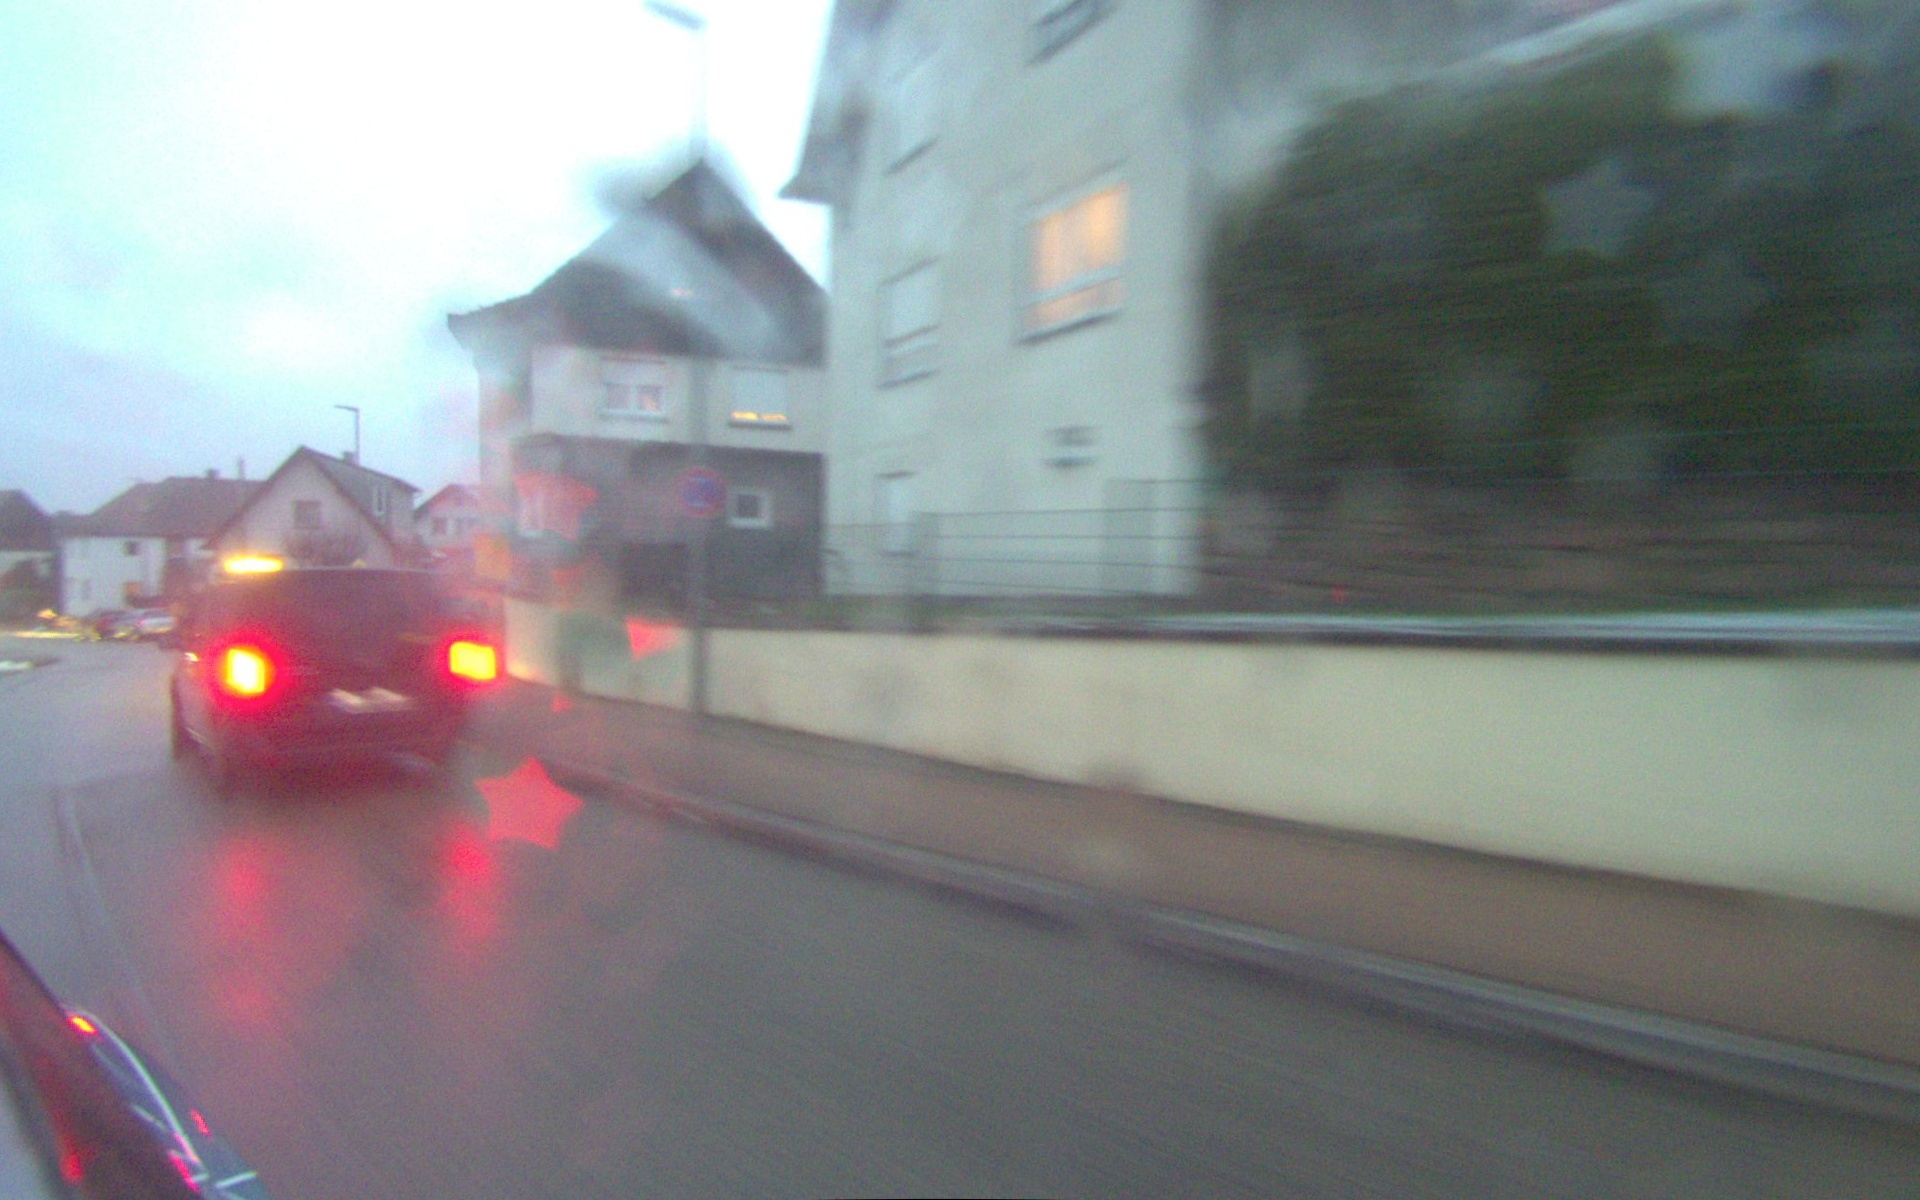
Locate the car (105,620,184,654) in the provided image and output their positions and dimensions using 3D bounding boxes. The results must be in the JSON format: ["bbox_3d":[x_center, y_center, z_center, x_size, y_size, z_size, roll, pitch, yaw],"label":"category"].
[{"bbox_3d":[-37.868,1.706,46.985,4.136,1.399,1.734,-1,1,35],"label":"car"}]

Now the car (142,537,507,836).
[{"bbox_3d":[-6.166,0.620,9.480,2.085,2.042,4.988,0,-1,-42],"label":"car"}]

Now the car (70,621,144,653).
[{"bbox_3d":[-42.484,1.819,50.398,4.058,1.451,1.808,-1,1,35],"label":"car"}]

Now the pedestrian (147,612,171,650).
[{"bbox_3d":[-39.575,1.526,50.000,0.810,1.792,0.700,0,2,37],"label":"pedestrian"}]
